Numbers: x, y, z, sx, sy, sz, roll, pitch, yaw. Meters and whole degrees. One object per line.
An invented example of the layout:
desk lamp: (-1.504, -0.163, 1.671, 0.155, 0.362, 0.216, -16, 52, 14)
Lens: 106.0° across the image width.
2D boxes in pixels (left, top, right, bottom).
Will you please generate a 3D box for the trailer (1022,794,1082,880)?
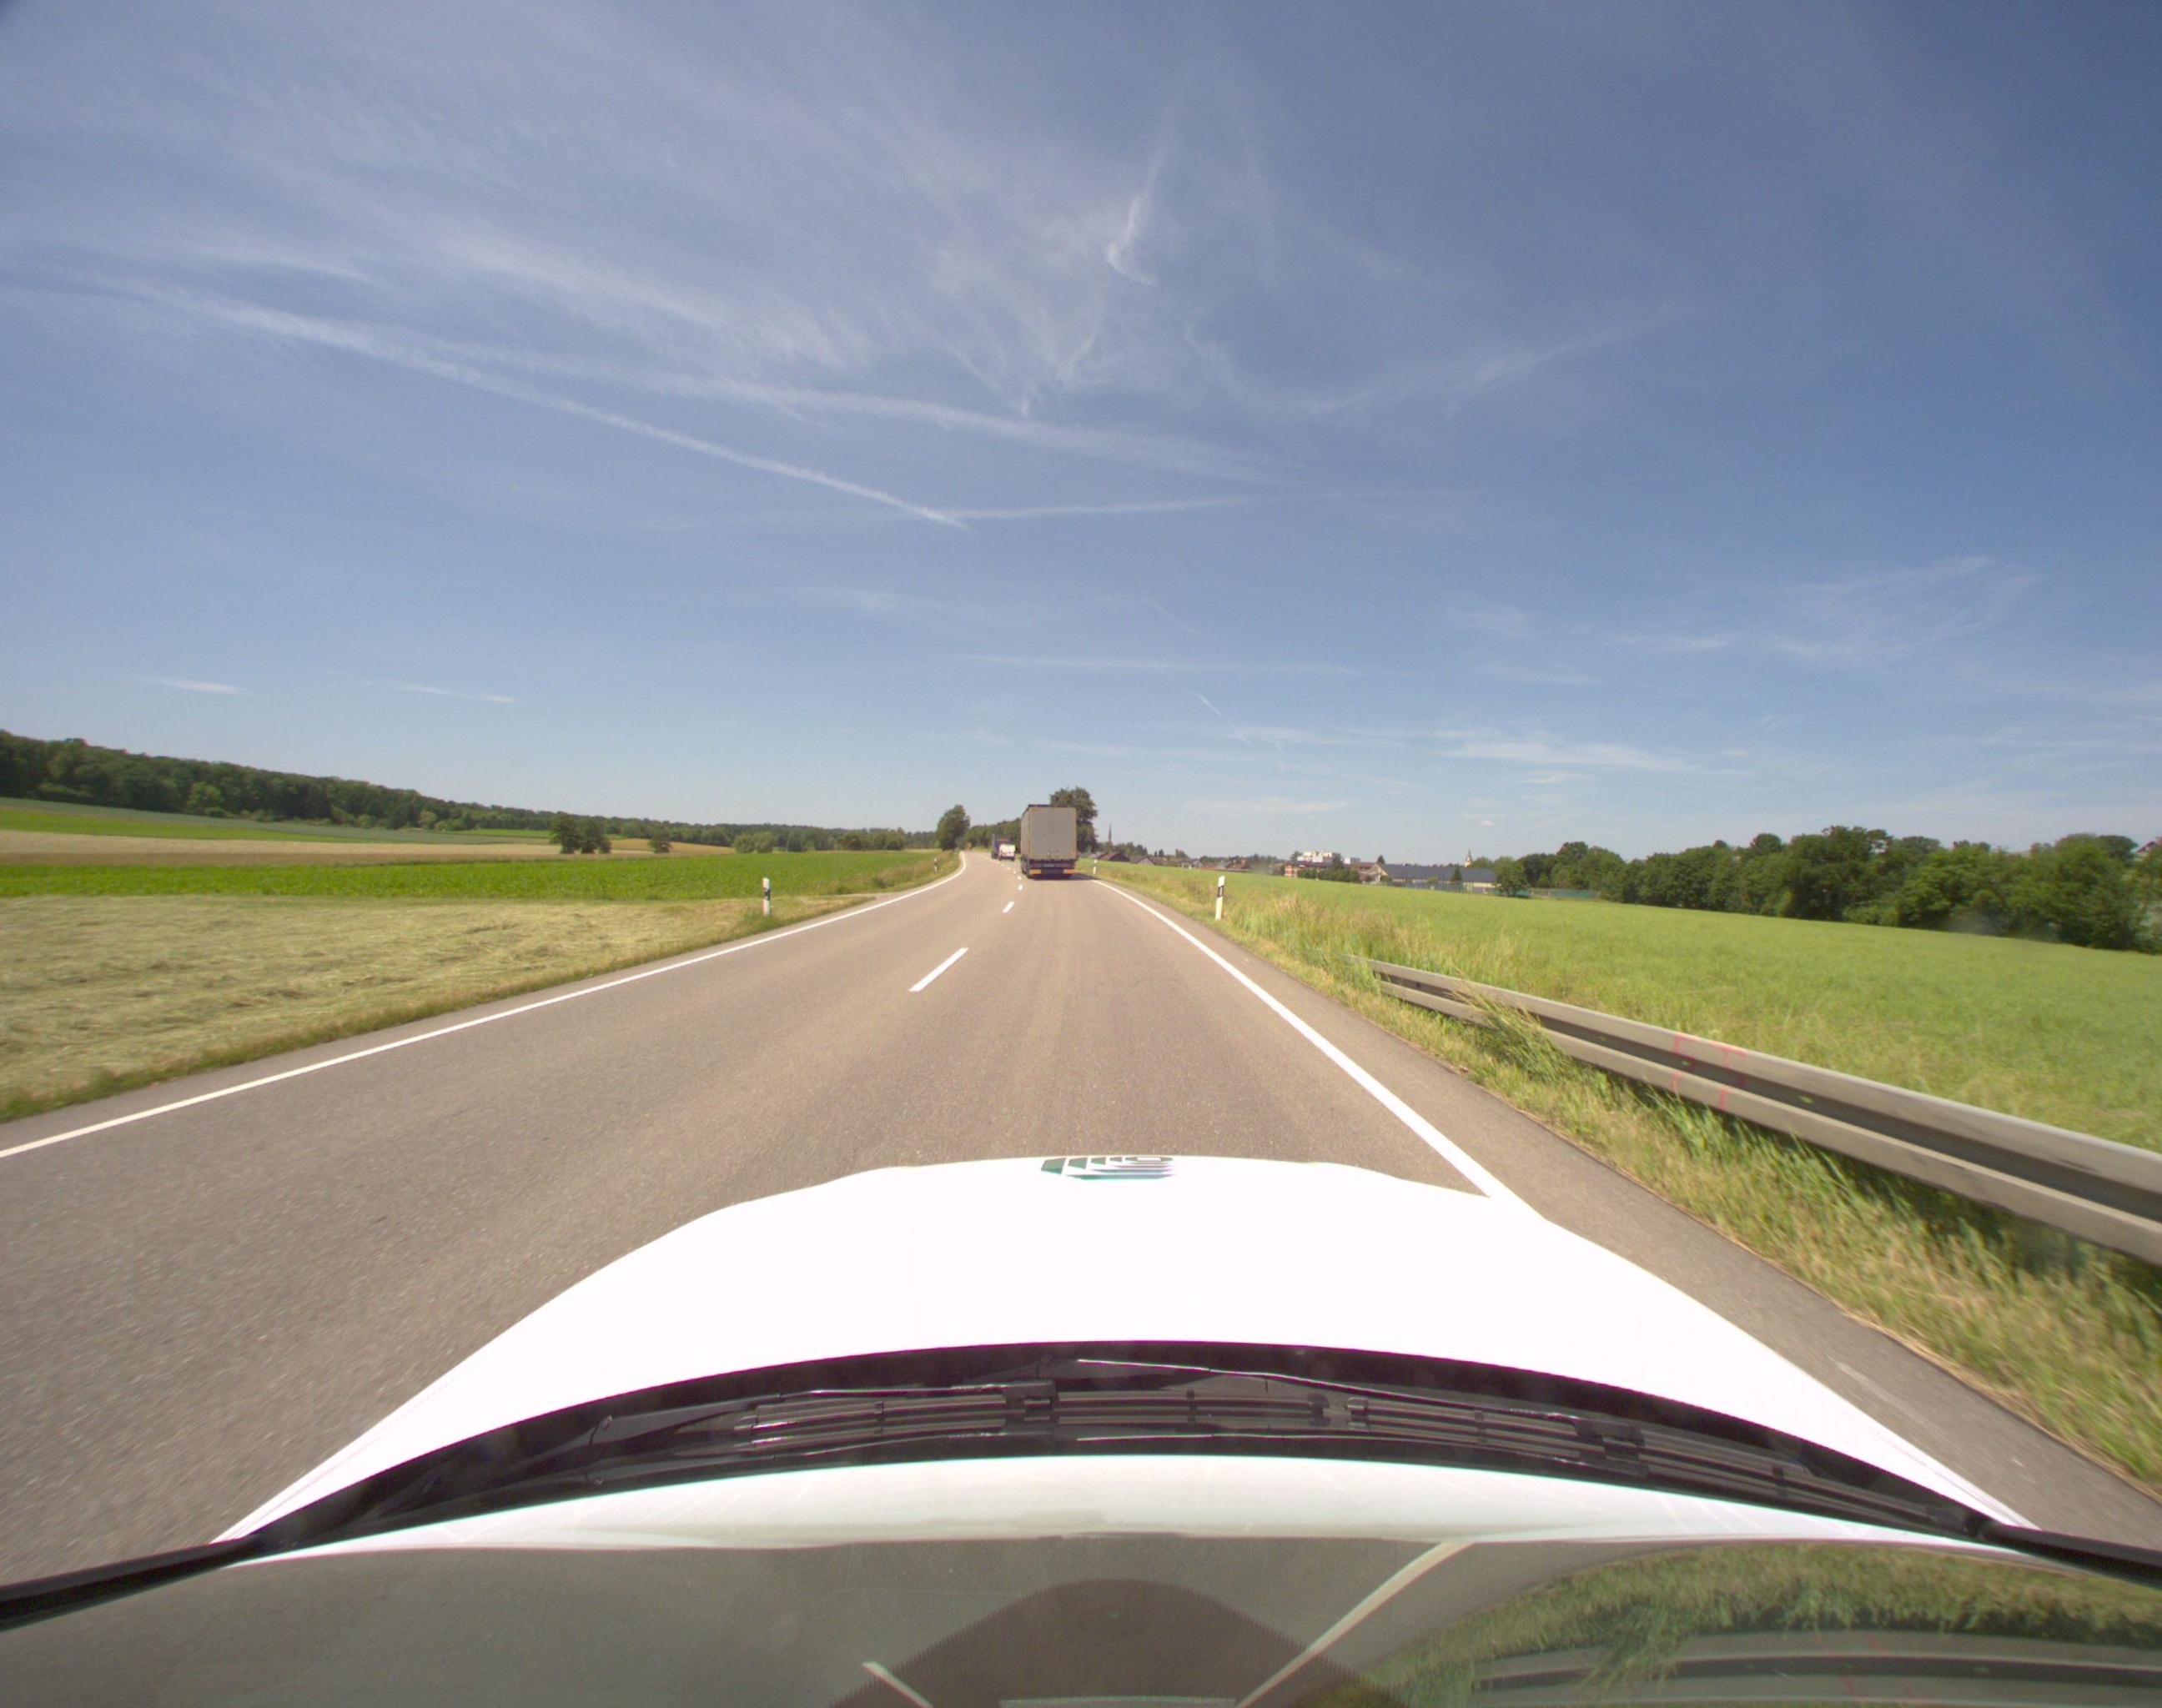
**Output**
trailer: (-1.981, -0.937, 48.945, 2.863, 4.400, 13.468, -1, 0, -5)

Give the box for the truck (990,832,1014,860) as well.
truck: (-13.249, -1.351, 138.596, 3.542, 4.392, 18.095, 1, 0, -4)

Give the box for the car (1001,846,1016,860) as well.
car: (-10.114, -0.139, 114.152, 1.720, 1.872, 3.998, 0, 0, -1)
